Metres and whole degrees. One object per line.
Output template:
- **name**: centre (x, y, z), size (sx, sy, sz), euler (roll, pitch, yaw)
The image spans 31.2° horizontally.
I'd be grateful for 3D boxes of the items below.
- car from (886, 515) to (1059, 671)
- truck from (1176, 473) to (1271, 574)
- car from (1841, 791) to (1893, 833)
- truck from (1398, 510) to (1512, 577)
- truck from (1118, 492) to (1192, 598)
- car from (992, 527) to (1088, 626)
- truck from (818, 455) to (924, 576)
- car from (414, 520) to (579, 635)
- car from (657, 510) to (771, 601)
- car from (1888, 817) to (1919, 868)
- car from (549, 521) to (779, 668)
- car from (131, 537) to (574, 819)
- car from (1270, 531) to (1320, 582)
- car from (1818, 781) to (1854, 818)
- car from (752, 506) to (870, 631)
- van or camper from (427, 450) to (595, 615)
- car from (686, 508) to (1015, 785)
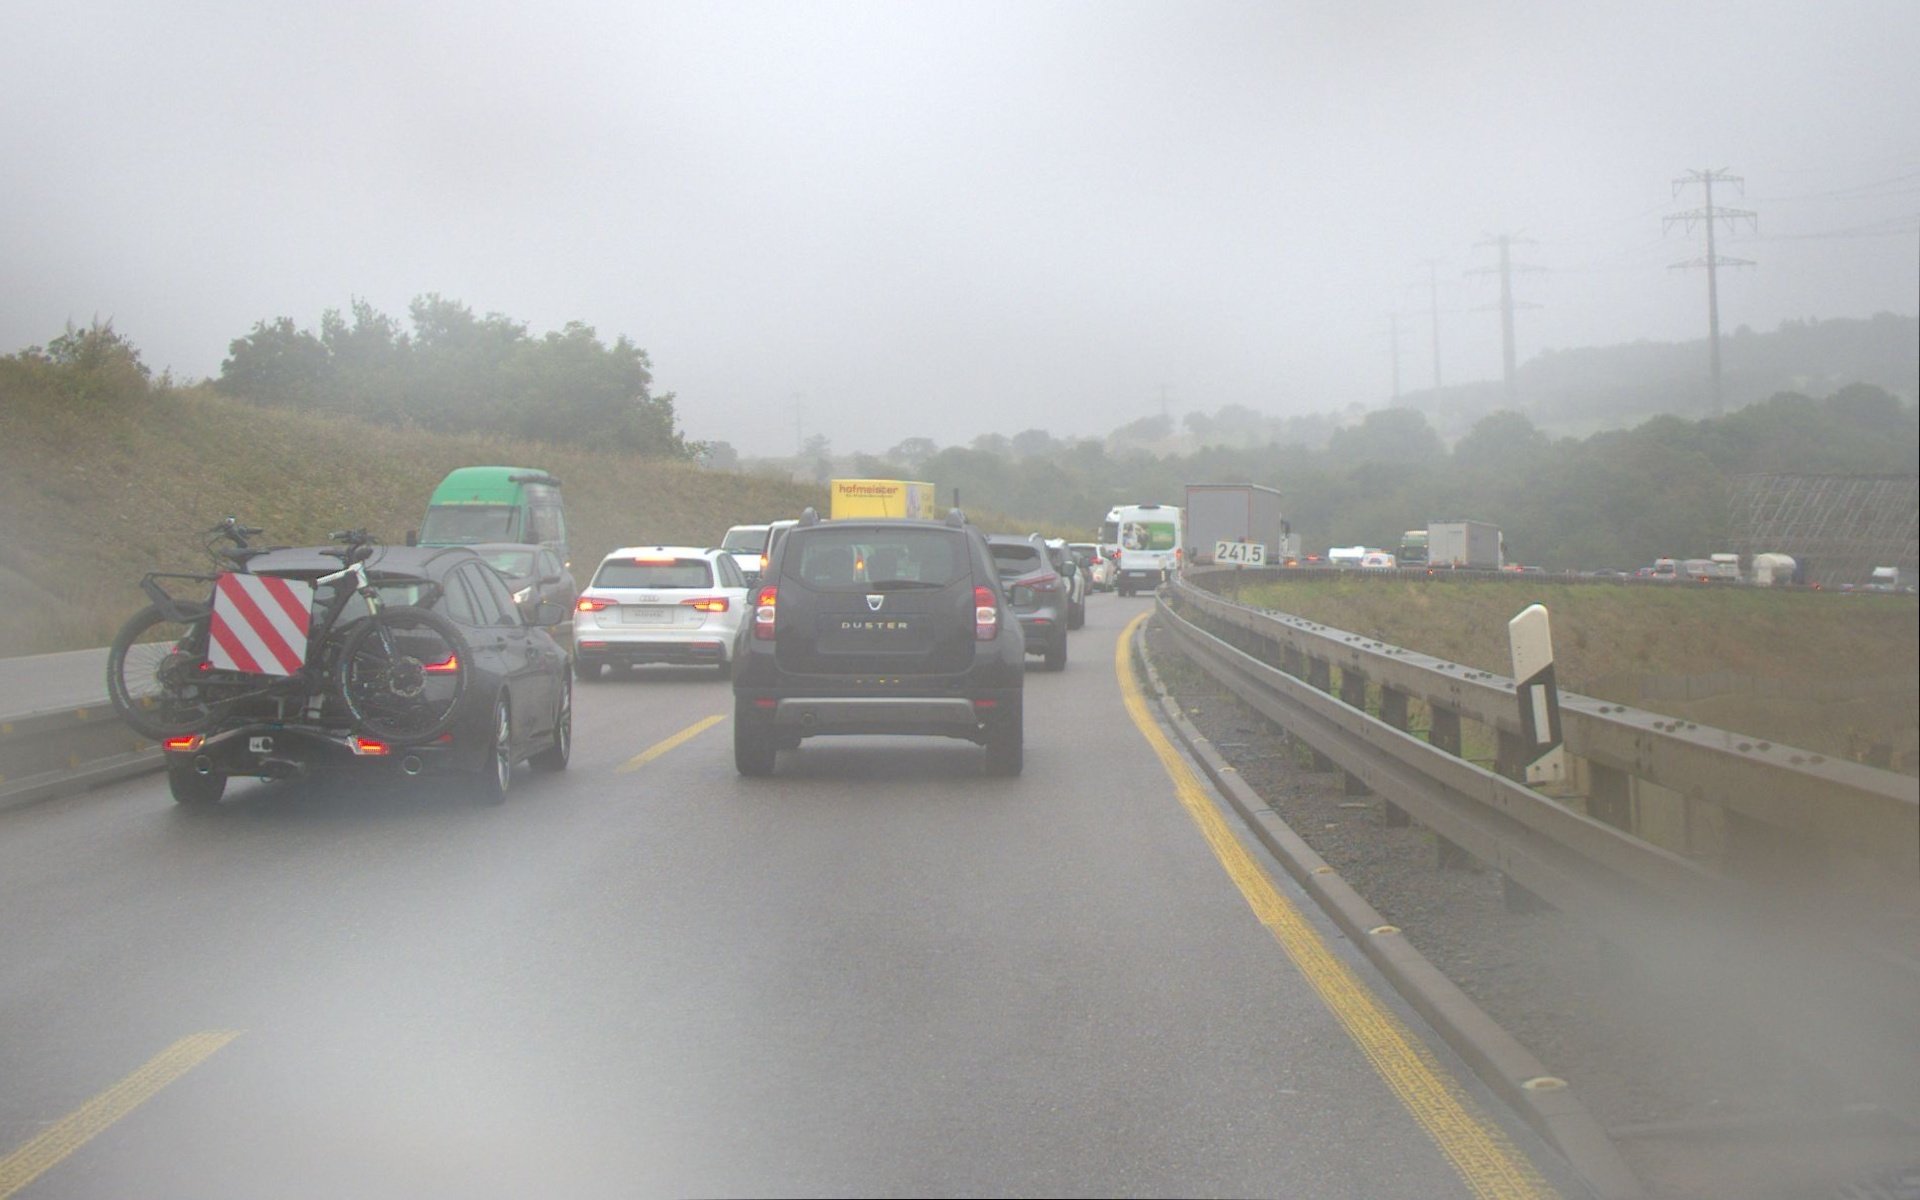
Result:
- **car**: centre (0.196, -0.118, 40.344), size (1.868, 1.702, 4.000), euler (1, 1, 2)
- **truck**: centre (10.334, -2.962, 134.144), size (3.201, 3.748, 8.507), euler (2, 1, 7)
- **car**: centre (46.658, 10.902, 176.945), size (1.994, 1.809, 3.999), euler (1, 1, 6)
- **truck**: centre (32.629, -3.705, 225.749), size (4.722, 4.135, 15.669), euler (2, 1, 18)
- **truck**: centre (6.073, -1.714, 106.718), size (2.149, 3.155, 6.459), euler (1, 1, 4)
- **car**: centre (1.420, -0.437, 59.850), size (1.530, 1.635, 4.012), euler (1, 1, 3)
- **truck**: centre (-3.009, -2.893, 118.782), size (2.769, 3.983, 8.421), euler (1, 1, 5)
- **car**: centre (-6.523, -0.347, 48.776), size (1.713, 1.531, 4.046), euler (1, 1, 1)
- **car**: centre (-5.358, -0.986, 75.389), size (2.000, 1.880, 5.274), euler (1, 1, 1)
- **car**: centre (44.660, 11.256, 159.312), size (2.365, 2.007, 4.000), euler (1, 1, 4)
- **car**: centre (-3.166, -0.101, 37.593), size (1.868, 1.455, 4.548), euler (1, 1, 3)
- **car**: centre (-3.405, 0.378, 19.939), size (1.829, 1.471, 3.776), euler (0, 1, 1)
- **car**: centre (12.970, -1.682, 132.917), size (1.775, 1.909, 3.999), euler (2, 1, 7)
- **car**: centre (55.664, 12.656, 218.363), size (1.995, 2.007, 3.997), euler (2, 1, 17)
- **car**: centre (-2.344, -0.522, 54.901), size (1.660, 1.873, 4.020), euler (1, 1, 0)
- **van or camper**: centre (-8.114, -1.233, 62.638), size (2.100, 2.808, 5.943), euler (1, 1, 1)
- **car**: centre (-0.625, 0.245, 22.363), size (1.804, 1.640, 3.776), euler (0, 1, 3)
